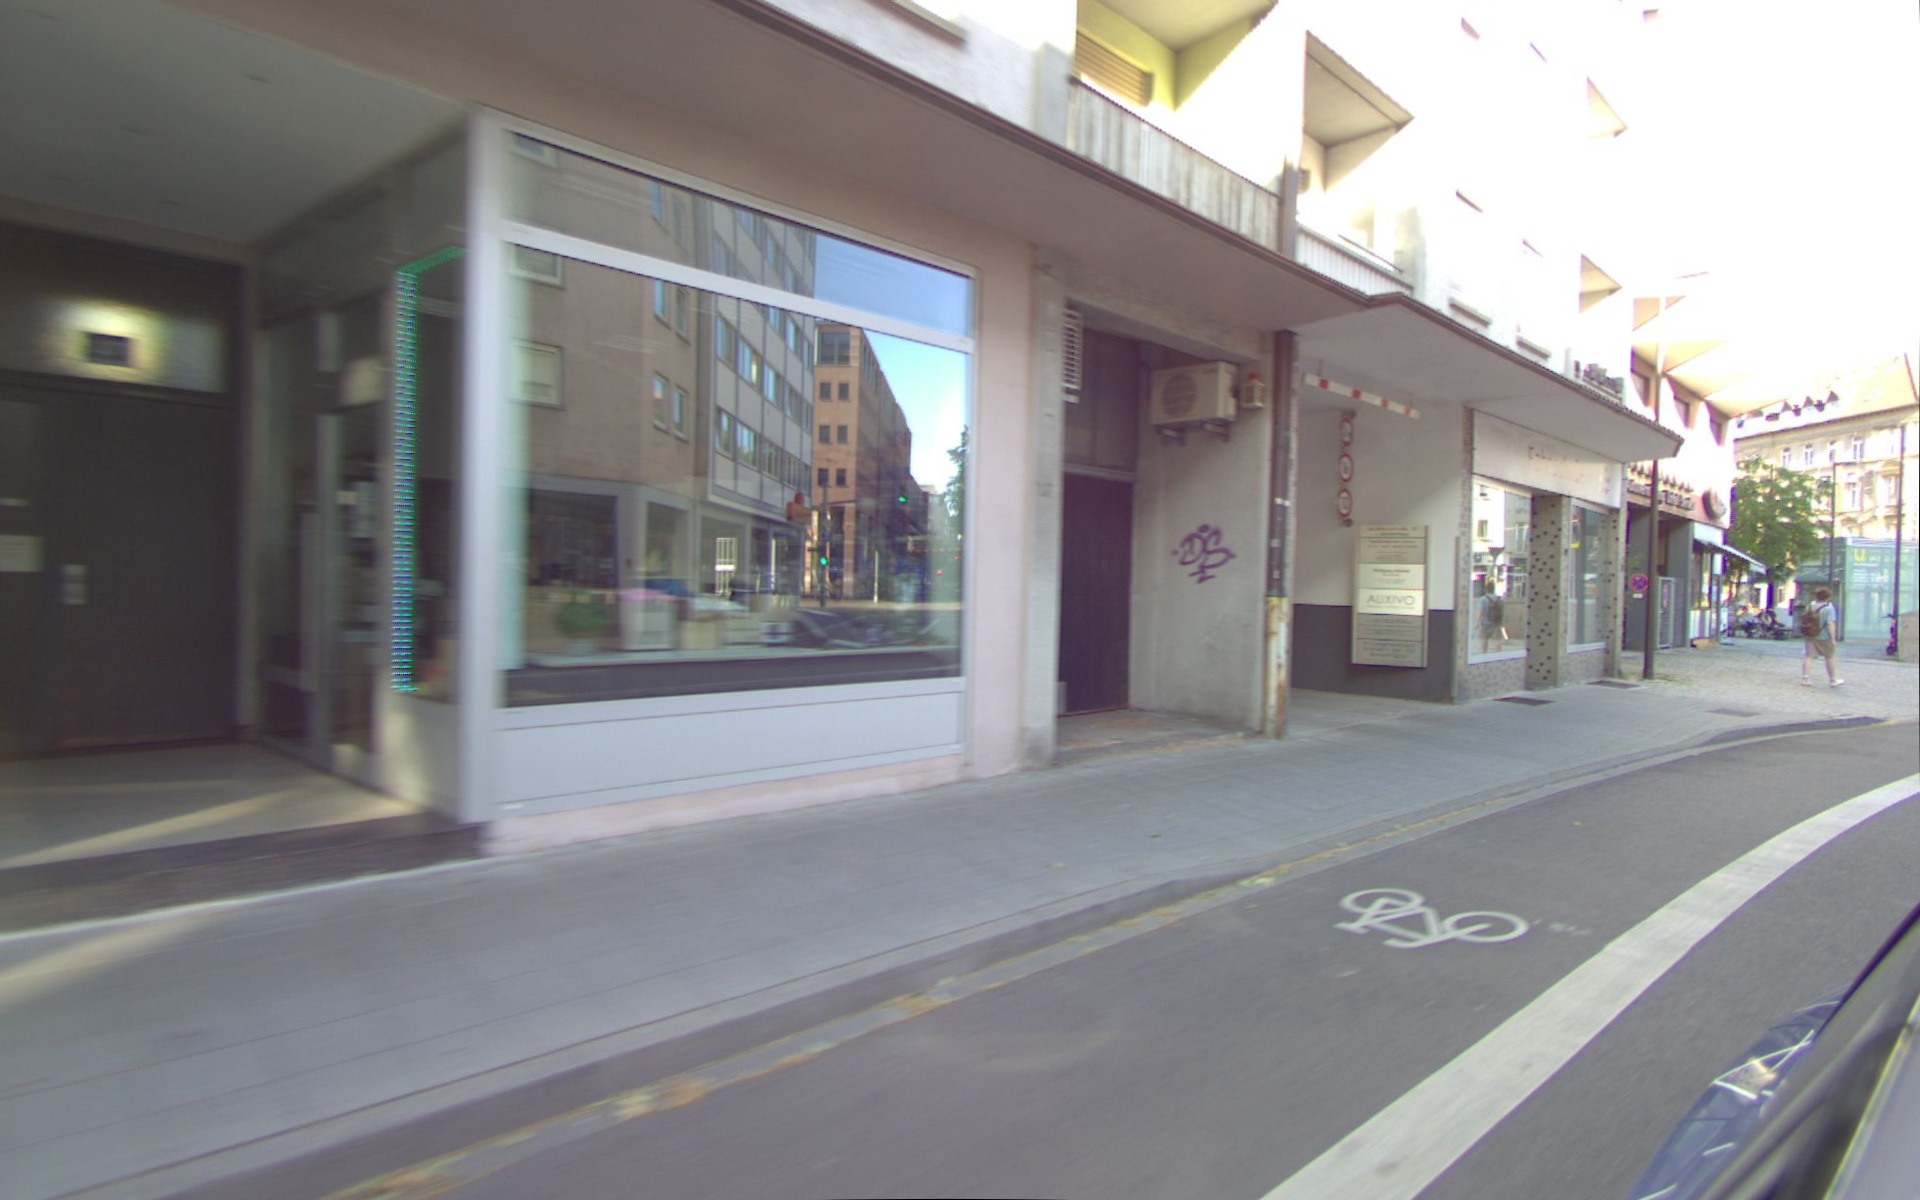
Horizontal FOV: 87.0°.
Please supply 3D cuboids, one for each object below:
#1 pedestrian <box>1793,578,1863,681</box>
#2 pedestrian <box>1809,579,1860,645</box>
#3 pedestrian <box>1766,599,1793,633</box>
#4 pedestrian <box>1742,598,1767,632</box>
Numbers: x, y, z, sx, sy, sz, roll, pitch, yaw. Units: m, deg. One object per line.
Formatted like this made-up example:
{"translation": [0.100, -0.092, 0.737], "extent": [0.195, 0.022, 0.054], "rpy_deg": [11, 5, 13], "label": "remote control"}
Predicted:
{"translation": [16.299, 0.534, 19.010], "extent": [0.693, 1.841, 0.708], "rpy_deg": [1, 4, -33], "label": "pedestrian"}
{"translation": [25.374, 0.333, 29.374], "extent": [0.695, 1.841, 0.707], "rpy_deg": [3, 3, 4], "label": "pedestrian"}
{"translation": [31.827, 0.620, 39.307], "extent": [0.704, 1.247, 0.760], "rpy_deg": [5, 4, 38], "label": "pedestrian"}
{"translation": [31.232, 0.565, 39.788], "extent": [0.704, 1.257, 0.756], "rpy_deg": [5, 4, 38], "label": "pedestrian"}
